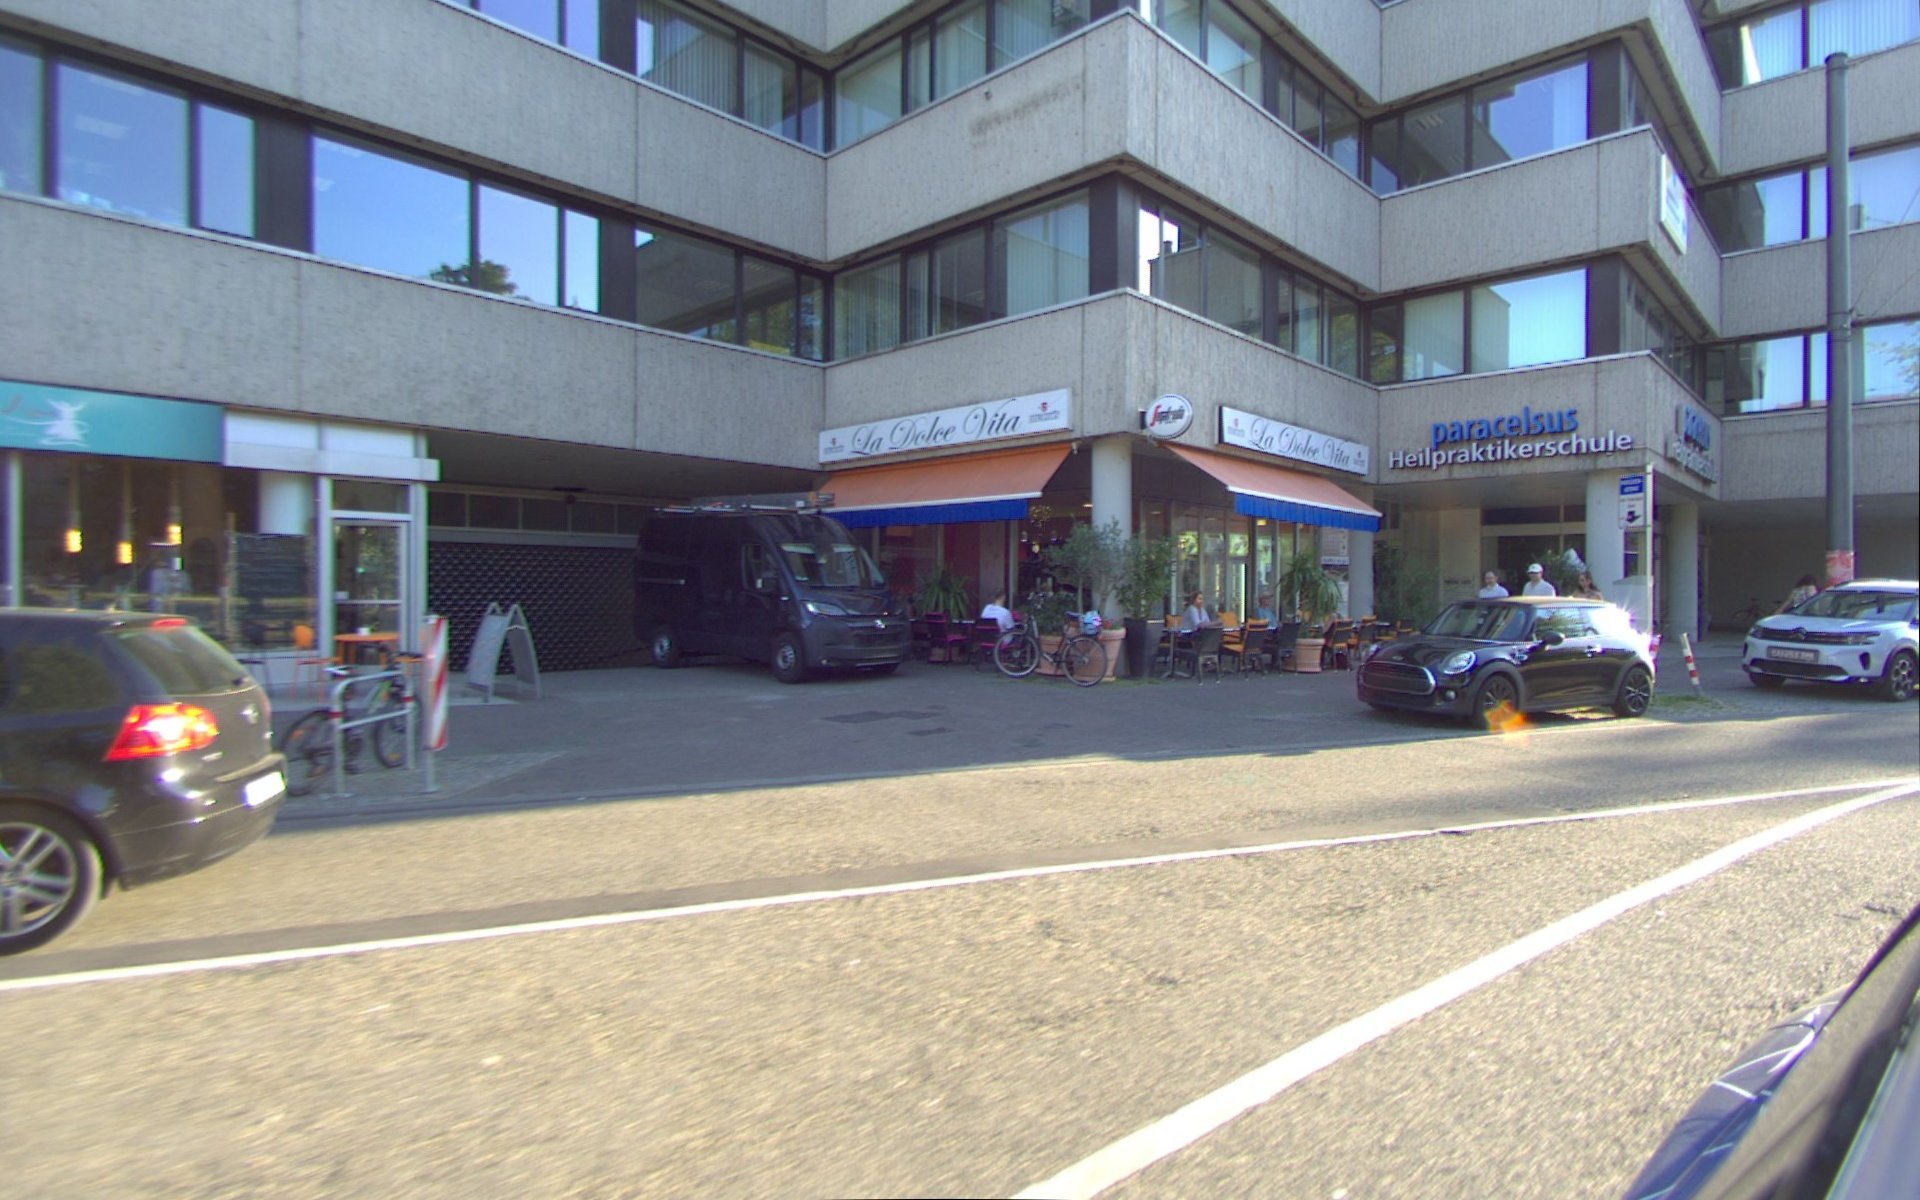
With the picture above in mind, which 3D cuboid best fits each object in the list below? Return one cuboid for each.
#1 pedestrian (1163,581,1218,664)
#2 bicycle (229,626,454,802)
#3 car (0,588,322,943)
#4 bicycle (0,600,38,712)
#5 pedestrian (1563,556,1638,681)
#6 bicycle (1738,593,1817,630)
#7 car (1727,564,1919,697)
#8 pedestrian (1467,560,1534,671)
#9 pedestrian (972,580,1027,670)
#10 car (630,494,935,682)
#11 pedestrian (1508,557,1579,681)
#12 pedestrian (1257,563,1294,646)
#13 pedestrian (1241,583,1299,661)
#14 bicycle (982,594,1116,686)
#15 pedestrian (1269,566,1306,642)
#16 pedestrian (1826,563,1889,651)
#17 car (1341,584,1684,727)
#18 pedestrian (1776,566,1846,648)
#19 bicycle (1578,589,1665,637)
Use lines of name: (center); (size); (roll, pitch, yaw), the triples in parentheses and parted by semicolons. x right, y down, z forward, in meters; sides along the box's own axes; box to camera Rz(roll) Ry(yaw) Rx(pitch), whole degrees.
pedestrian: (3.759, 0.353, 16.510); (0.650, 1.297, 0.653); (2, 3, 39)
bicycle: (-4.882, 0.840, 8.117); (0.603, 1.132, 1.602); (2, 3, 13)
car: (-5.440, 0.690, 4.606); (4.017, 1.479, 1.757); (0, 0, -21)
bicycle: (-10.491, 0.626, 10.318); (0.510, 1.132, 1.511); (3, 4, 25)
pedestrian: (9.396, 0.256, 14.865); (0.648, 1.781, 0.582); (0, 3, -19)
bicycle: (26.011, 0.356, 32.220); (0.474, 1.087, 1.871); (0, 2, -33)
car: (14.005, 0.371, 15.238); (4.411, 1.734, 1.878); (0, 3, -22)
pedestrian: (8.806, 0.233, 16.508); (0.648, 1.761, 0.626); (0, 3, -19)
pedestrian: (0.600, 0.364, 15.315); (0.552, 1.297, 0.643); (2, 3, 42)
car: (-2.961, -0.278, 15.908); (5.318, 2.472, 2.059); (3, 3, 45)
pedestrian: (9.113, 0.273, 15.817); (0.648, 1.880, 0.626); (0, 3, -19)
pedestrian: (6.907, 0.088, 22.139); (0.513, 1.782, 0.597); (0, -1, -44)
pedestrian: (5.428, 0.363, 17.724); (0.765, 1.297, 0.652); (2, 3, 41)
bicycle: (1.234, 0.534, 14.180); (1.801, 1.132, 0.529); (3, 3, 31)
pedestrian: (7.304, 0.086, 22.587); (0.513, 1.670, 0.597); (0, -1, -44)
pedestrian: (18.171, 0.124, 20.496); (1.013, 1.748, 0.699); (0, 1, -35)
car: (6.719, 0.575, 12.319); (3.743, 1.458, 1.671); (0, 3, -23)
pedestrian: (18.047, 0.128, 21.474); (0.629, 1.694, 0.992); (0, 1, -34)
bicycle: (16.199, 0.296, 24.829); (1.745, 1.085, 0.479); (2, 2, 31)
